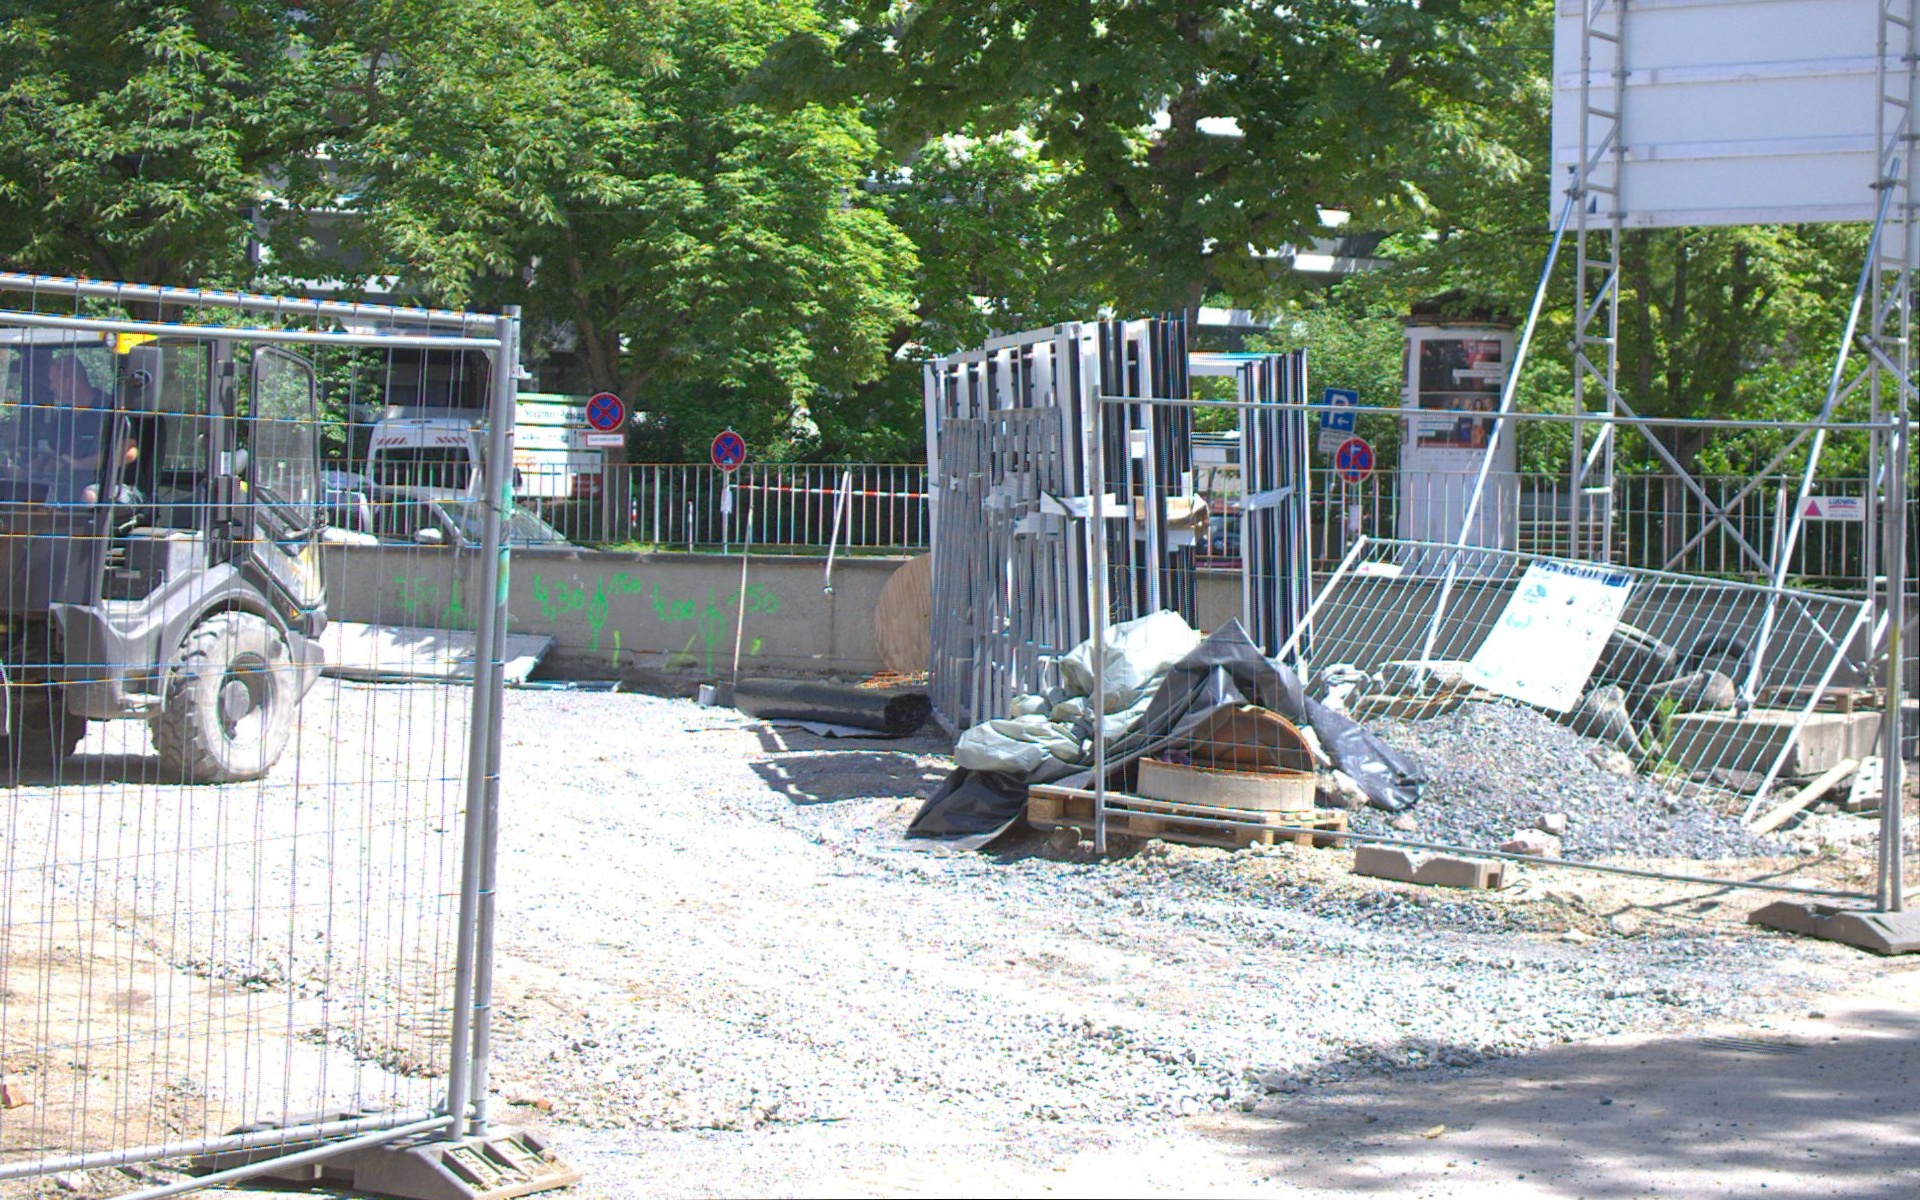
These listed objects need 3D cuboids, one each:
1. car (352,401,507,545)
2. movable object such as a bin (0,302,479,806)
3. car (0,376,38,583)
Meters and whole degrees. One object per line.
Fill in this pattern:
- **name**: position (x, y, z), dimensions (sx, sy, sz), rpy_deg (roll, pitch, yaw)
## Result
- **car**: position (-8.710, -2.072, 56.844), dimensions (2.184, 2.250, 4.870), rpy_deg (1, 1, -5)
- **movable object such as a bin**: position (-5.448, -0.278, 17.654), dimensions (5.405, 2.455, 2.367), rpy_deg (1, 2, -42)
- **car**: position (-13.580, -1.472, 41.113), dimensions (5.237, 2.408, 1.996), rpy_deg (2, 2, 35)
